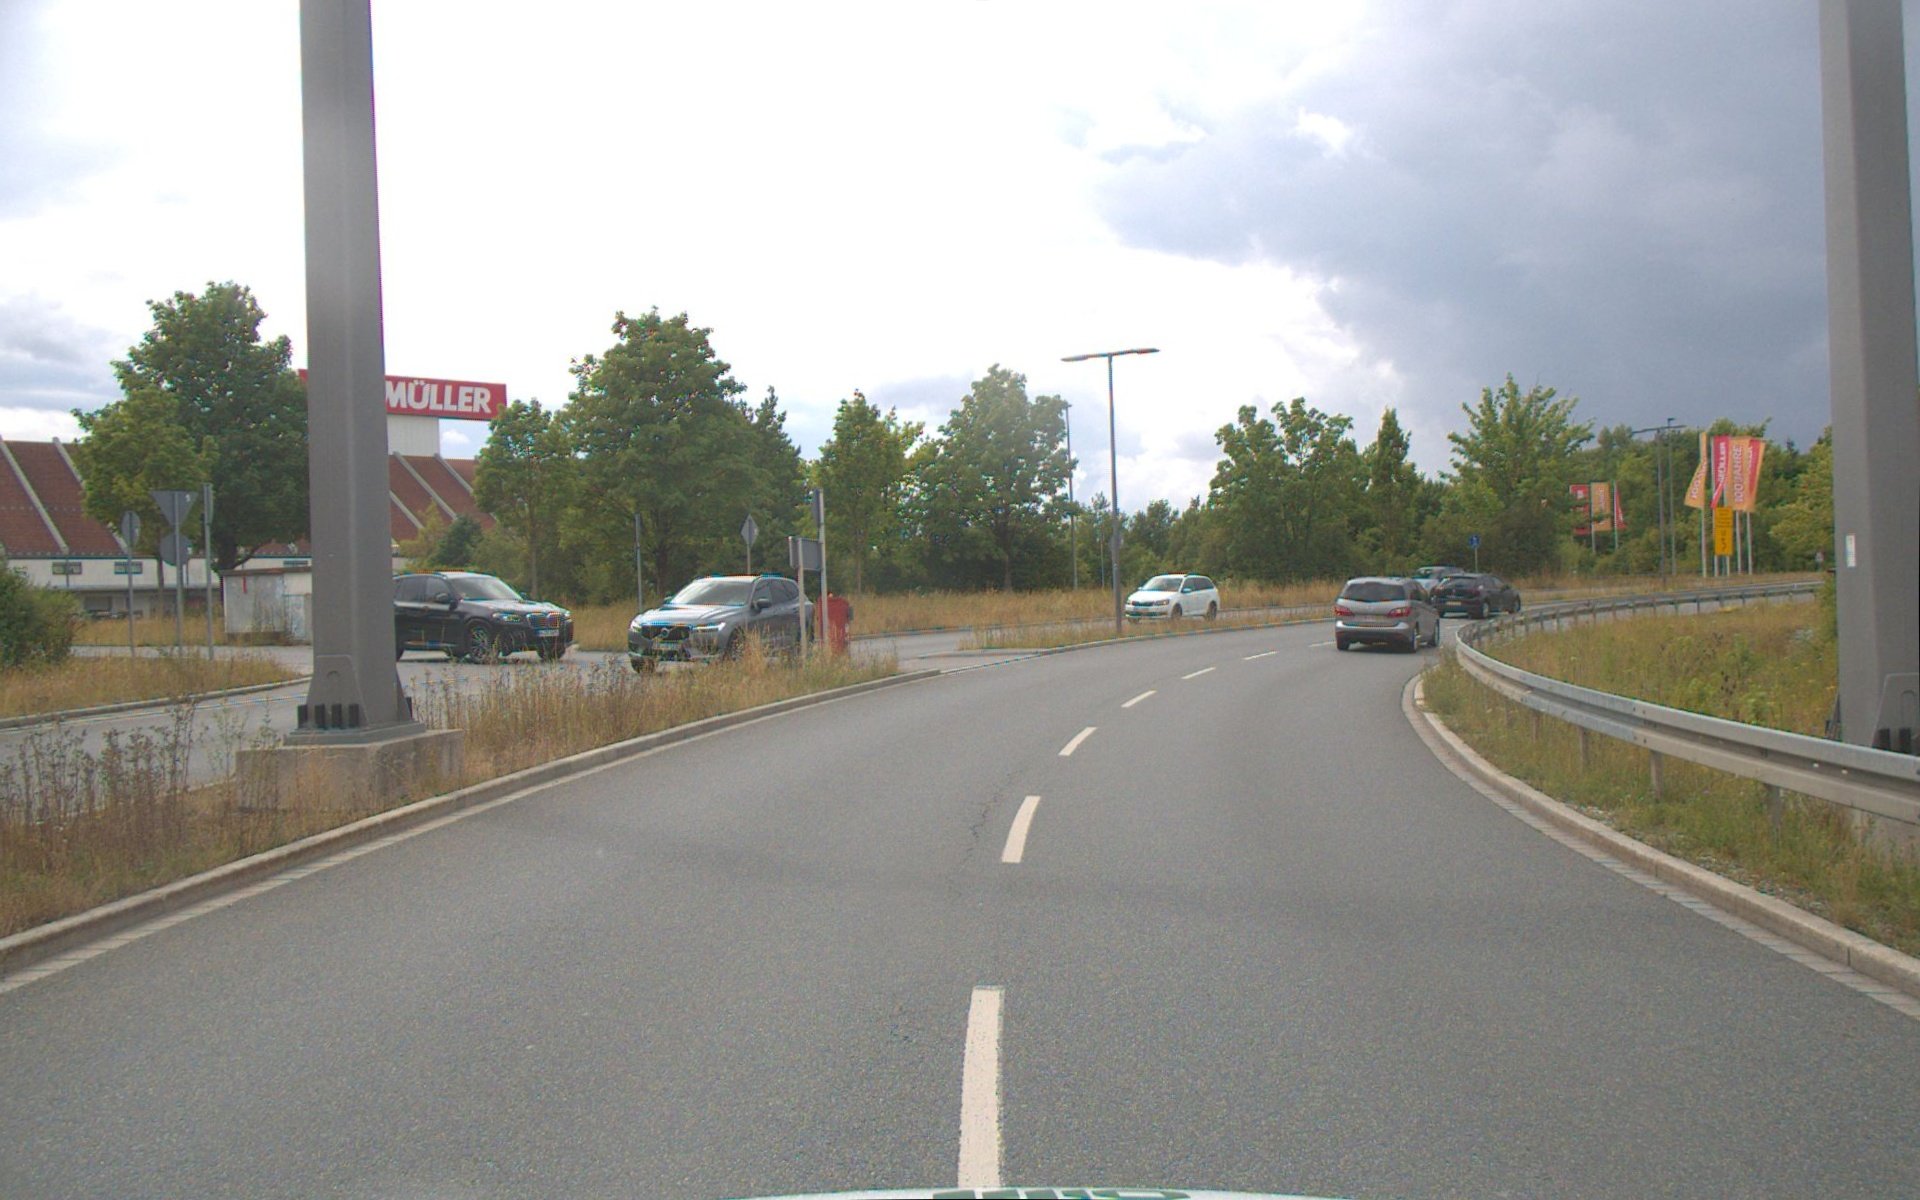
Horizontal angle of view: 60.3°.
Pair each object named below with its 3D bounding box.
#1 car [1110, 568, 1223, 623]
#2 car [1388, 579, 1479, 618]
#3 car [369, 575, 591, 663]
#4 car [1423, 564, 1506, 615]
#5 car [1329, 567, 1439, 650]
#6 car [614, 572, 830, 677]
[{"bbox_3d":[6.544,-0.143,52.059,1.687,1.663,4.250,0,0,37],"label":"car"},{"bbox_3d":[19.283,-0.072,67.287,4.051,1.512,1.444,-1,0,-37],"label":"car"},{"bbox_3d":[-9.196,0.347,31.571,4.168,1.577,1.868,0,0,34],"label":"car"},{"bbox_3d":[16.664,-0.344,54.496,1.834,1.633,3.727,-1,0,30],"label":"car"},{"bbox_3d":[9.542,0.240,37.076,1.732,1.645,3.919,-3,-4,24],"label":"car"},{"bbox_3d":[-4.055,0.378,29.066,1.771,1.658,4.688,1,1,19],"label":"car"}]
